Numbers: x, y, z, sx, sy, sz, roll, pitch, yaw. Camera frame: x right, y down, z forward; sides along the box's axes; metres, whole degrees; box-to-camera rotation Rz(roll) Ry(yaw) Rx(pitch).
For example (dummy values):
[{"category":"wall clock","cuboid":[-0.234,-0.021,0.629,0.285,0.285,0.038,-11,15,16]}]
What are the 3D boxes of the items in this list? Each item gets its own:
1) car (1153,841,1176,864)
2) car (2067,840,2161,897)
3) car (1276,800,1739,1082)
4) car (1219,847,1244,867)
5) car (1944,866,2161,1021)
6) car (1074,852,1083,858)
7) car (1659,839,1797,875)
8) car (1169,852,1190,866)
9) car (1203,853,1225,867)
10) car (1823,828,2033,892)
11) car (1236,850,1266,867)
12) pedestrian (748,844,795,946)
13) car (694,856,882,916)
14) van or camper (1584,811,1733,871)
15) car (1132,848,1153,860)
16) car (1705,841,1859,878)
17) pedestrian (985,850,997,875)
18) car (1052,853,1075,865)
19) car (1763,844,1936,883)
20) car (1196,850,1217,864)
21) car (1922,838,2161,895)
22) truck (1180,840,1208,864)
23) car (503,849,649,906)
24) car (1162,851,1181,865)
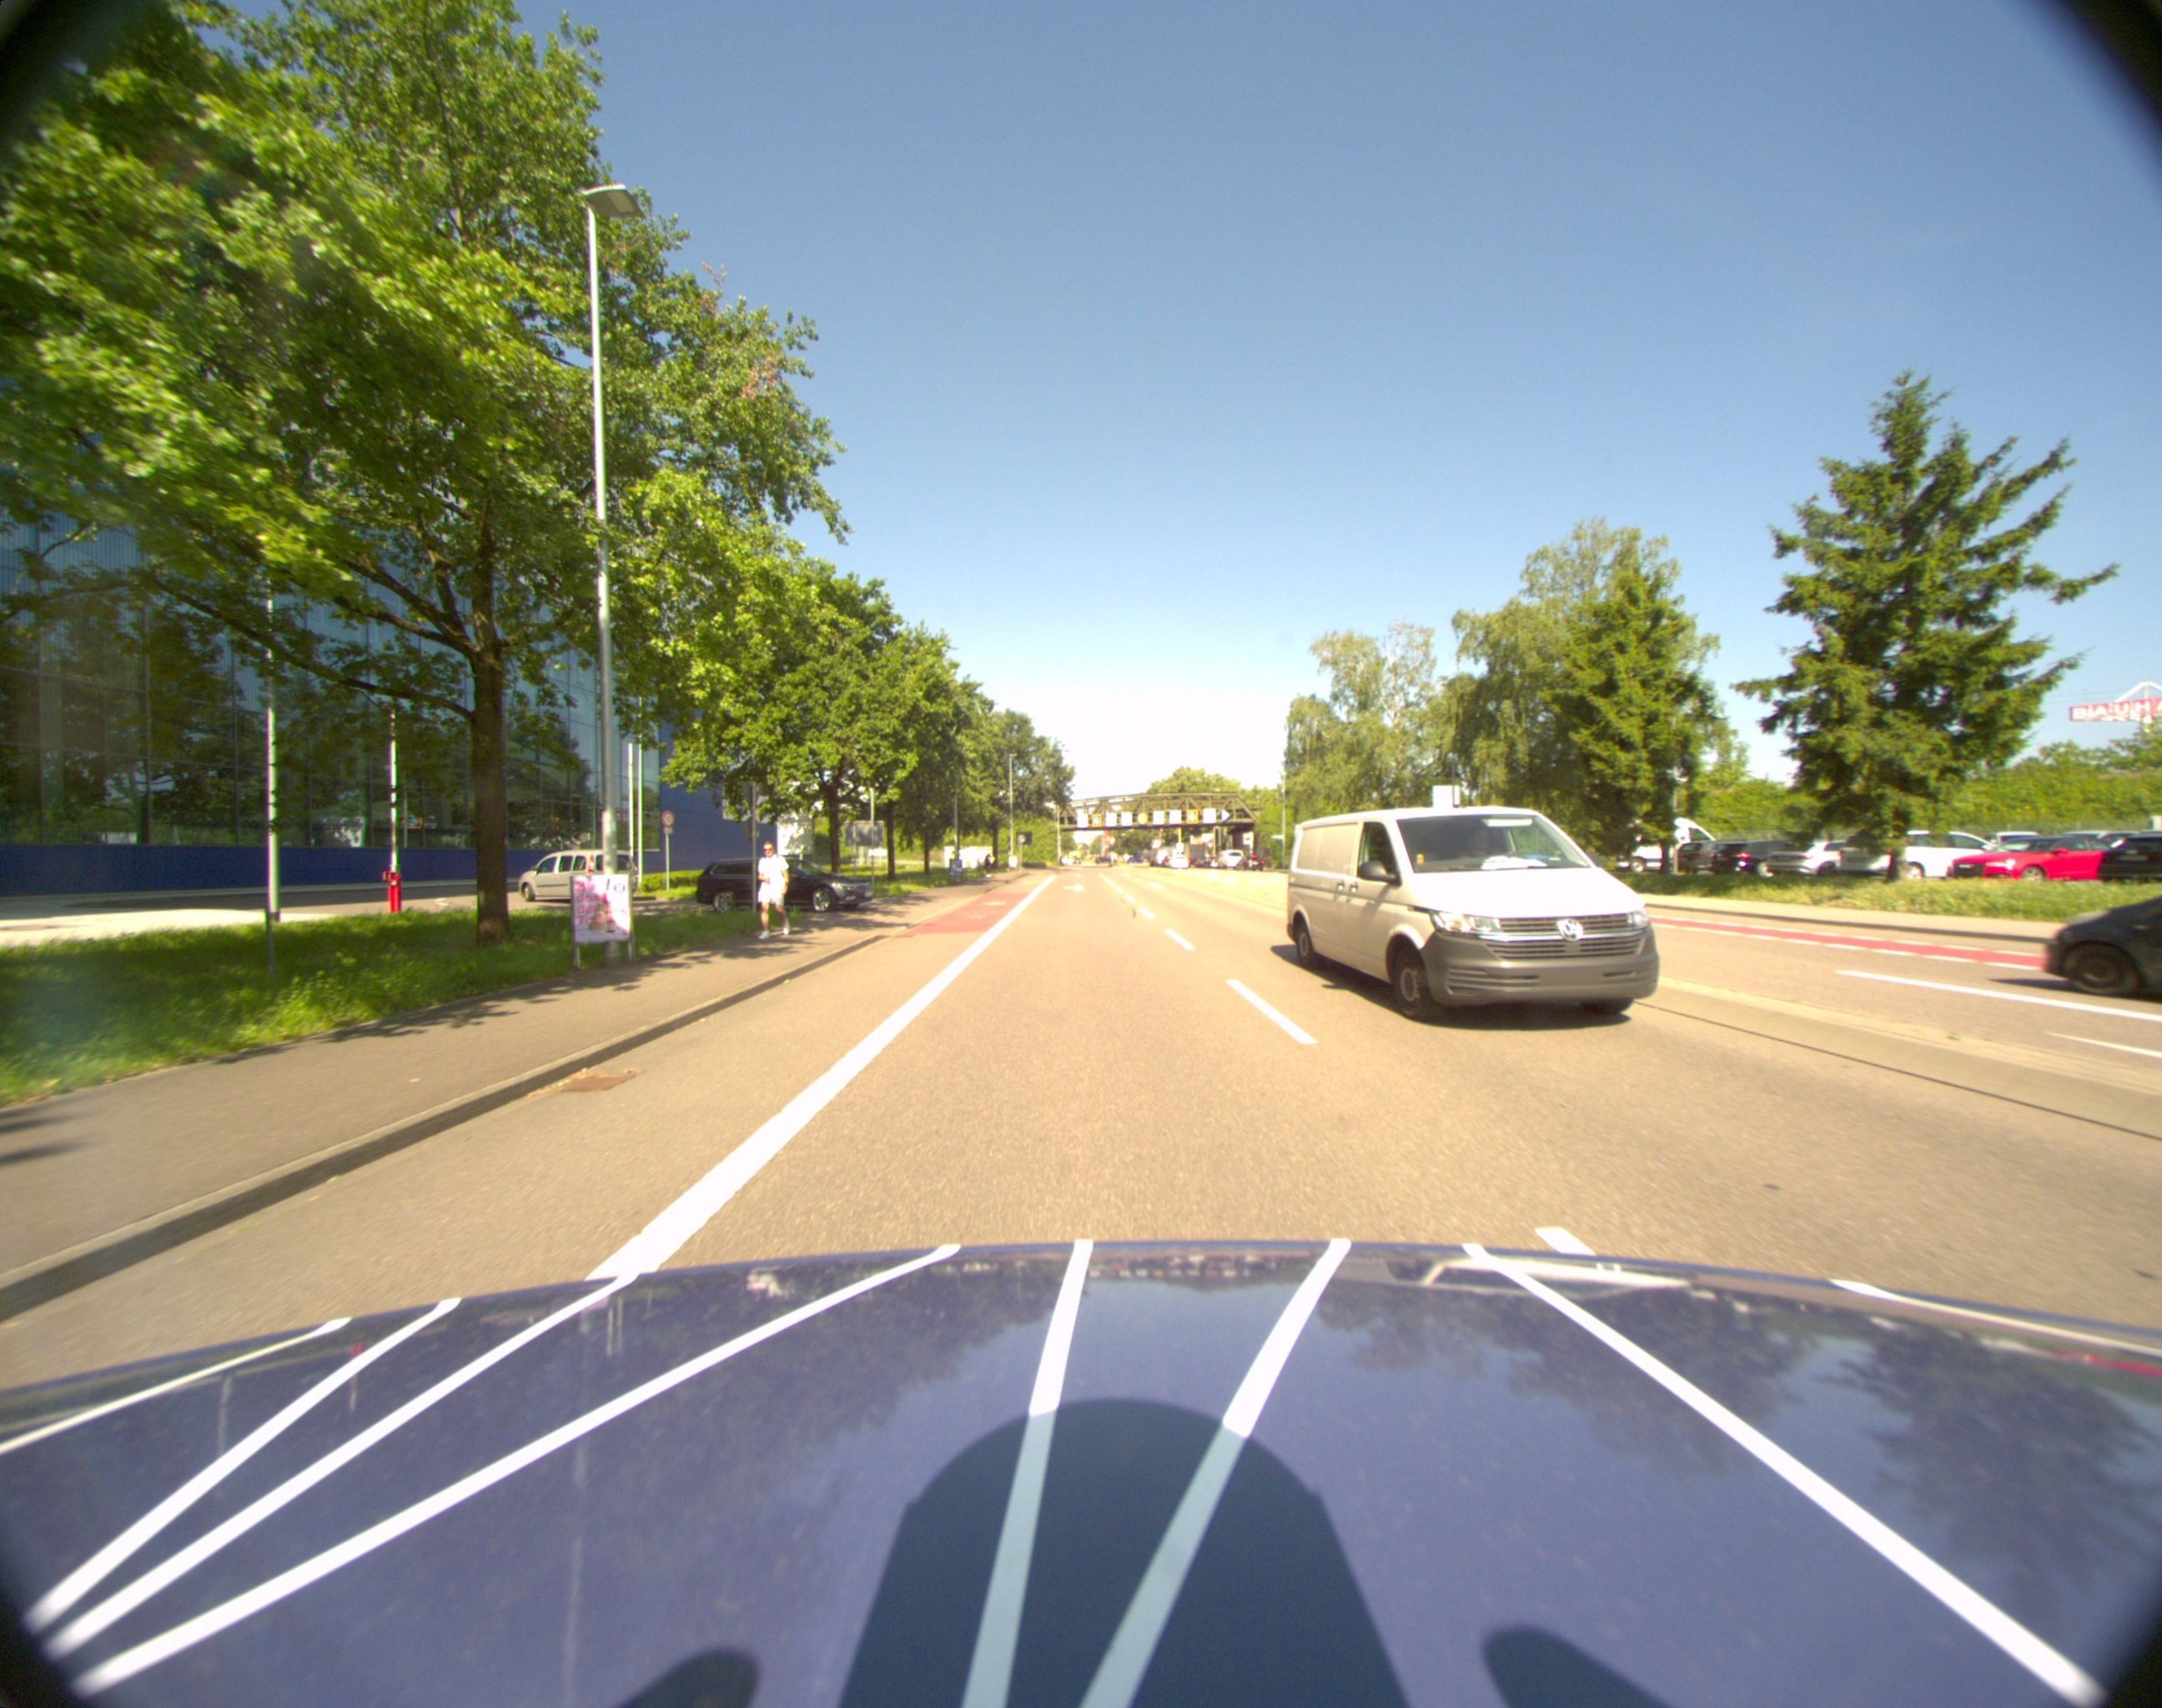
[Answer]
[{"category":"car","cuboid":[10.493,-0.149,96.154,1.999,2.789,6.936,2,0,-1]},{"category":"car","cuboid":[27.334,0.321,18.378,4.276,1.320,1.954,-1,0,2]},{"category":"car","cuboid":[3.668,0.610,7.861,1.887,1.982,4.973,0,0,-2]},{"category":"car","cuboid":[15.524,0.291,78.635,1.998,2.002,5.348,0,0,5]},{"category":"car","cuboid":[10.945,0.869,6.758,1.788,1.406,3.997,1,0,-6]},{"category":"car","cuboid":[-0.589,0.258,168.633,1.823,1.346,3.998,0,0,-4]},{"category":"car","cuboid":[26.796,0.120,31.578,4.095,1.430,1.744,-1,0,6]},{"category":"car","cuboid":[10.369,0.540,80.456,1.647,1.485,3.829,1,-1,-1]},{"category":"car","cuboid":[15.297,0.688,87.563,1.773,1.485,4.178,1,-1,1]},{"category":"car","cuboid":[26.408,0.177,23.818,4.276,1.873,1.954,-1,1,2]},{"category":"car","cuboid":[15.352,0.382,68.860,1.998,1.405,4.682,0,0,4]},{"category":"pedestrian","cuboid":[-5.691,0.733,14.000,0.536,1.831,0.727,0,1,0]},{"category":"car","cuboid":[-7.867,0.845,20.620,4.368,1.511,1.913,0,1,7]},{"category":"van or camper","cuboid":[26.879,-0.563,35.462,5.393,2.456,2.000,-3,-1,-2]},{"category":"car","cuboid":[12.026,0.025,149.028,3.996,2.001,2.212,-3,-1,2]},{"category":"car","cuboid":[26.593,0.197,28.942,4.095,1.346,1.744,-1,1,6]},{"category":"pedestrian","cuboid":[-5.934,0.549,50.053,0.648,1.594,0.846,0,1,1]},{"category":"car","cuboid":[-3.214,1.016,141.774,3.996,2.001,2.001,-3,-1,4]},{"category":"car","cuboid":[26.365,0.320,26.179,4.096,1.286,1.744,-1,0,2]},{"category":"car","cuboid":[15.554,0.414,94.233,1.989,1.679,4.288,1,-1,1]},{"category":"car","cuboid":[26.912,0.340,21.368,4.276,1.495,1.954,-1,0,2]},{"category":"truck","cuboid":[15.055,-0.232,101.549,2.347,3.070,7.067,-1,0,-3]},{"category":"car","cuboid":[-17.076,0.763,25.714,4.171,1.818,1.914,0,1,19]},{"category":"car","cuboid":[10.569,0.464,88.733,1.773,1.485,4.178,1,-1,1]}]
